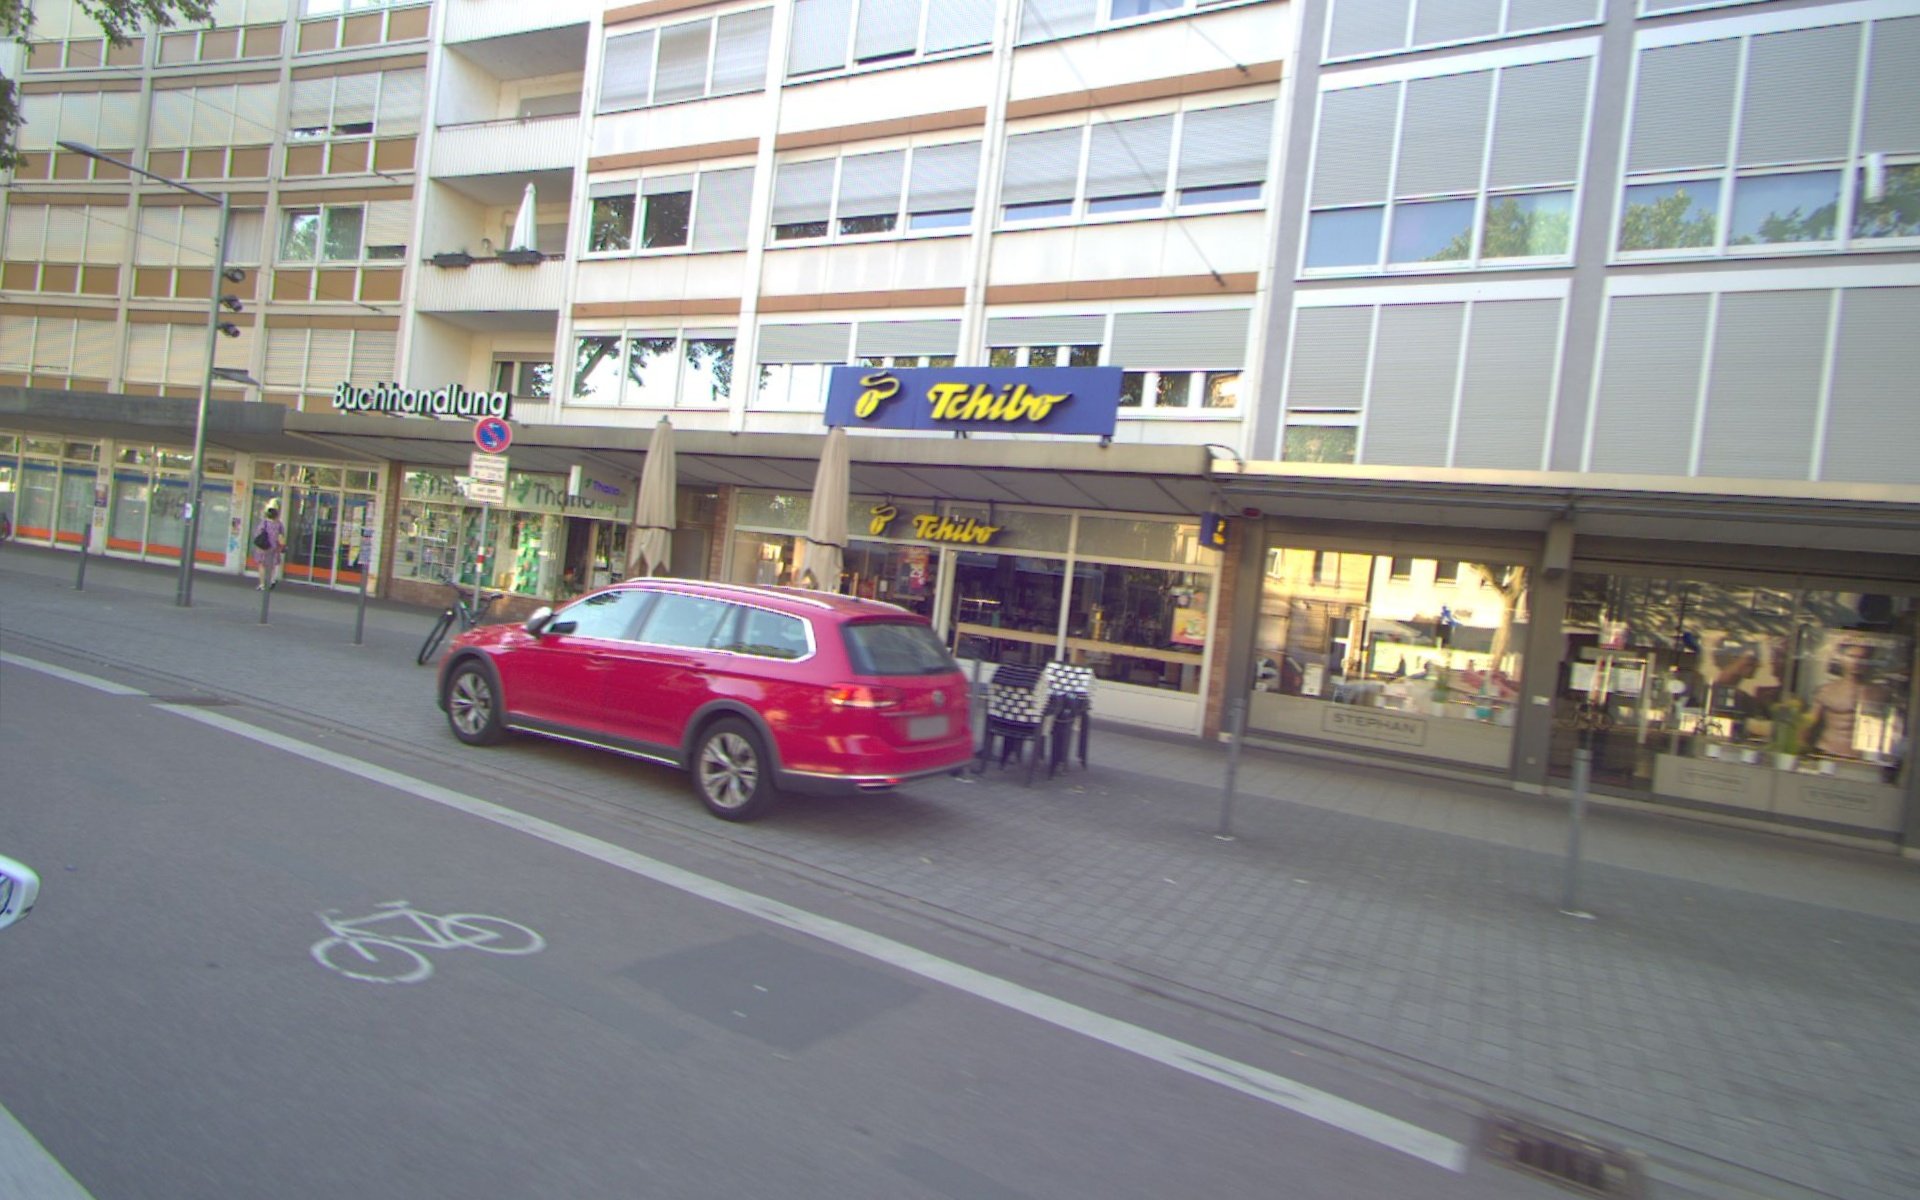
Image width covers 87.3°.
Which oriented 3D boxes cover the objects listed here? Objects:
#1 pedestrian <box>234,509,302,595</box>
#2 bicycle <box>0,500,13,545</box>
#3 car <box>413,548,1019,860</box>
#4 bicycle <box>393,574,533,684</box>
[{"bbox_3d":[-13.712,-0.948,19.937,0.793,1.571,0.641,7,1,20],"label":"pedestrian"},{"bbox_3d":[-24.862,-2.035,25.540,1.434,1.107,0.438,7,3,14],"label":"bicycle"},{"bbox_3d":[-2.005,0.590,7.810,4.489,1.516,1.780,7,2,30],"label":"car"},{"bbox_3d":[-5.904,0.329,11.935,1.631,1.084,0.512,7,3,24],"label":"bicycle"}]
